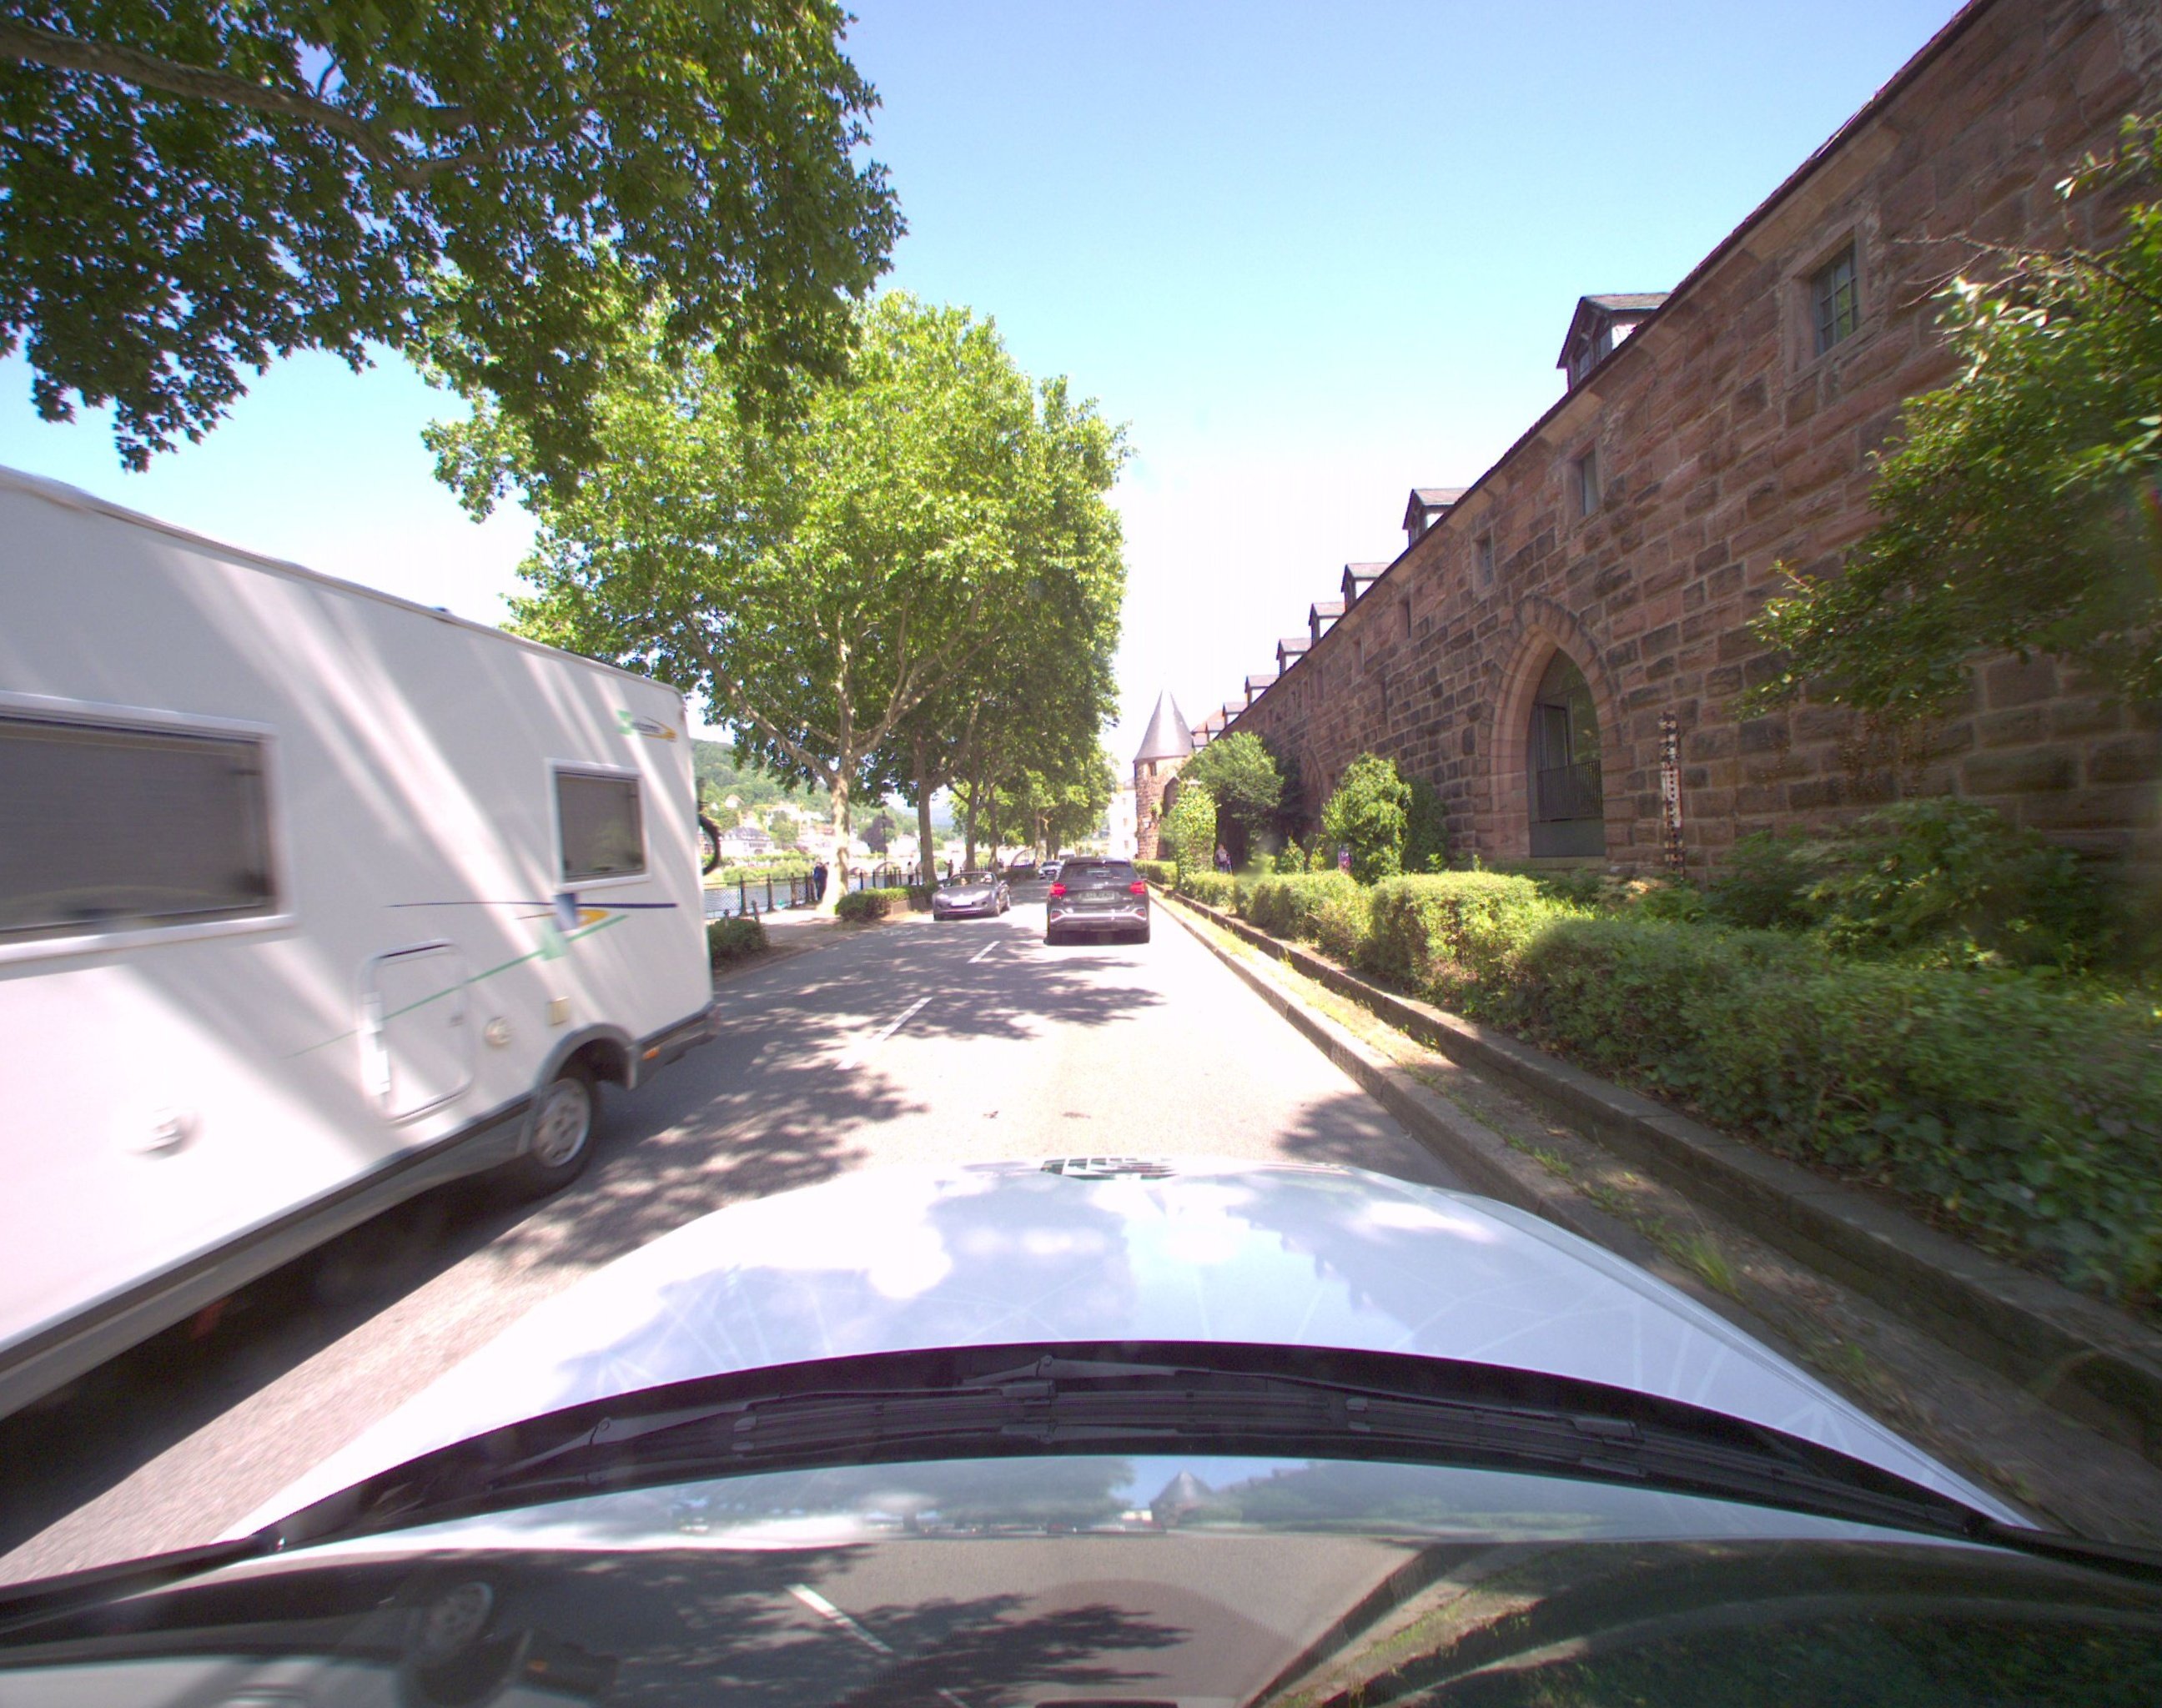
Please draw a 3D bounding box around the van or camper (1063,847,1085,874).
[{"bbox_3d":[-0.671,0.669,84.315,1.954,2.567,5.842,-5,-1,1],"label":"van or camper"}]

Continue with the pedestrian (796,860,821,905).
[{"bbox_3d":[-11.361,1.168,33.956,0.701,1.797,0.705,-4,0,3],"label":"pedestrian"}]

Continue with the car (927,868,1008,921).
[{"bbox_3d":[-3.019,1.056,22.294,1.693,1.211,3.484,-3,-1,-1],"label":"car"}]

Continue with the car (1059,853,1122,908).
[{"bbox_3d":[0.384,0.808,26.614,1.794,1.562,3.719,-4,0,3],"label":"car"}]

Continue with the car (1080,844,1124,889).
[{"bbox_3d":[1.060,0.594,41.123,1.986,2.013,4.001,-4,0,1],"label":"car"}]

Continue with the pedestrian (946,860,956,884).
[{"bbox_3d":[-9.007,1.245,56.337,0.642,1.618,0.458,0,-1,-1],"label":"pedestrian"}]

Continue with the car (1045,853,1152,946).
[{"bbox_3d":[0.300,0.756,15.159,1.742,1.494,3.628,-1,0,0],"label":"car"}]

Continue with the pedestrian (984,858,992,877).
[{"bbox_3d":[-7.776,1.135,68.267,0.455,1.554,0.586,-3,-1,1],"label":"pedestrian"}]

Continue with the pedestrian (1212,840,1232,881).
[{"bbox_3d":[5.970,0.266,34.506,0.695,1.652,0.705,-4,0,3],"label":"pedestrian"}]

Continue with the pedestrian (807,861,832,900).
[{"bbox_3d":[-11.262,1.141,35.078,0.701,1.603,0.705,-4,0,3],"label":"pedestrian"}]

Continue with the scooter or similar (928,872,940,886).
[{"bbox_3d":[-10.263,1.730,56.838,0.629,0.968,1.012,-2,-1,1],"label":"scooter or similar"}]

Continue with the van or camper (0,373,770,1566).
[{"bbox_3d":[-3.557,0.301,2.764,2.314,2.662,6.265,-4,-1,1],"label":"van or camper"}]

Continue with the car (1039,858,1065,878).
[{"bbox_3d":[-2.286,1.090,65.020,1.763,1.457,4.534,-3,-1,0],"label":"car"}]

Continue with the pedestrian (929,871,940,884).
[{"bbox_3d":[-10.261,1.664,56.984,0.605,0.884,0.705,-2,0,1],"label":"pedestrian"}]

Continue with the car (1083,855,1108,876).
[{"bbox_3d":[1.071,0.853,62.244,1.763,1.457,4.534,-3,-1,0],"label":"car"}]

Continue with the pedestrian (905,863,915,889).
[{"bbox_3d":[-11.117,1.416,52.981,0.582,1.711,0.403,0,-1,-1],"label":"pedestrian"}]
